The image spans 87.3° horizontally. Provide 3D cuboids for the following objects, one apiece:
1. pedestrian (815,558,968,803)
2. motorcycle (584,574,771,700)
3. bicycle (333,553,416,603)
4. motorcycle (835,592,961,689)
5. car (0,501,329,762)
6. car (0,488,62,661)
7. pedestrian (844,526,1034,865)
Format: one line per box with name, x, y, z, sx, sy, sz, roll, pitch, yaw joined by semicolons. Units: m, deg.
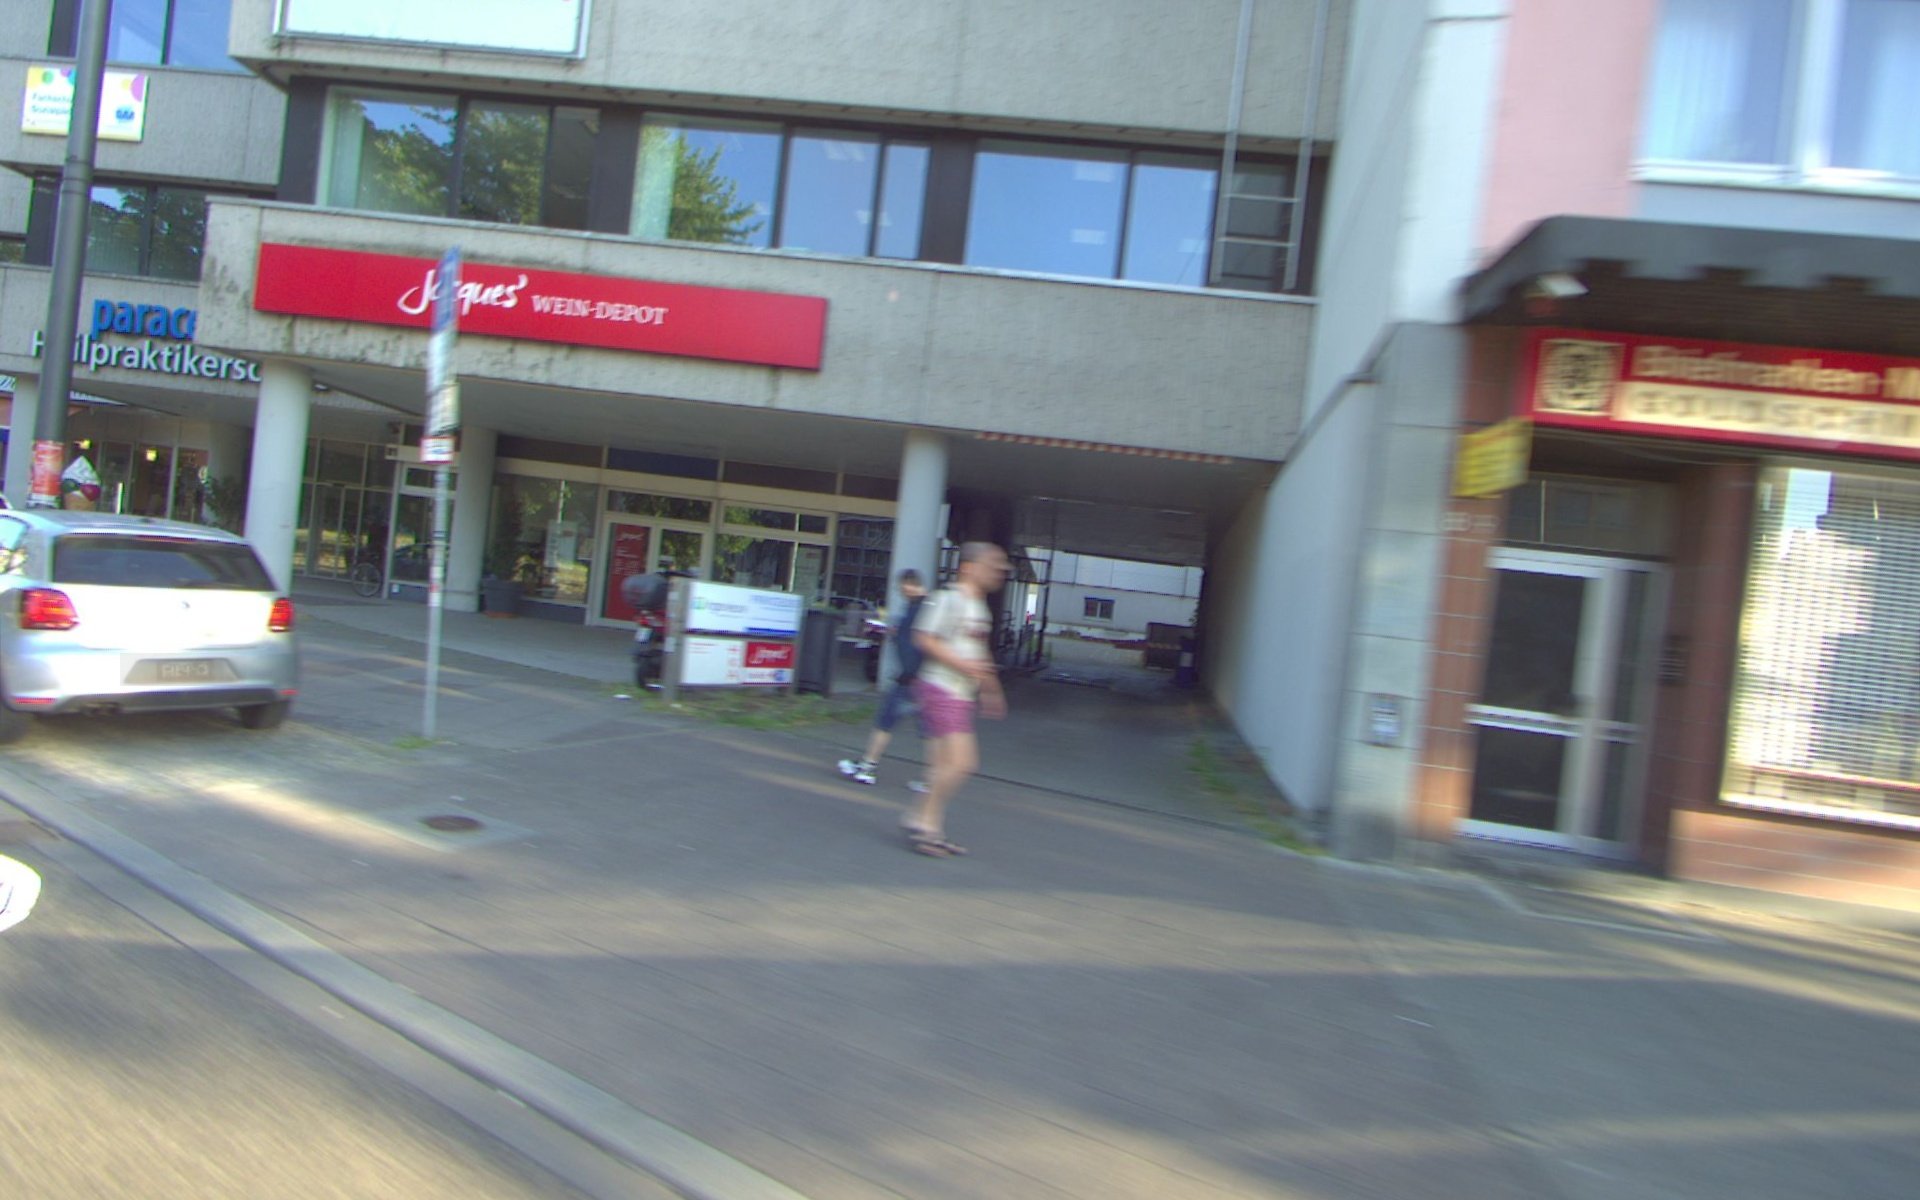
pedestrian;-0.492;0.570;7.487;0.840;1.648;0.640;7;2;8
motorcycle;-3.072;0.400;11.249;0.692;1.205;2.281;7;1;21
bicycle;-11.724;-0.419;20.186;0.429;0.838;1.397;7;-1;22
motorcycle;-0.913;0.634;15.221;1.785;1.309;0.661;6;1;-44
car;-6.637;0.077;7.420;3.935;1.474;1.786;6;-1;33
car;-10.748;-0.451;9.972;3.606;1.609;1.588;6;-1;30
pedestrian;-0.102;0.532;5.961;0.840;1.809;0.640;7;2;8
